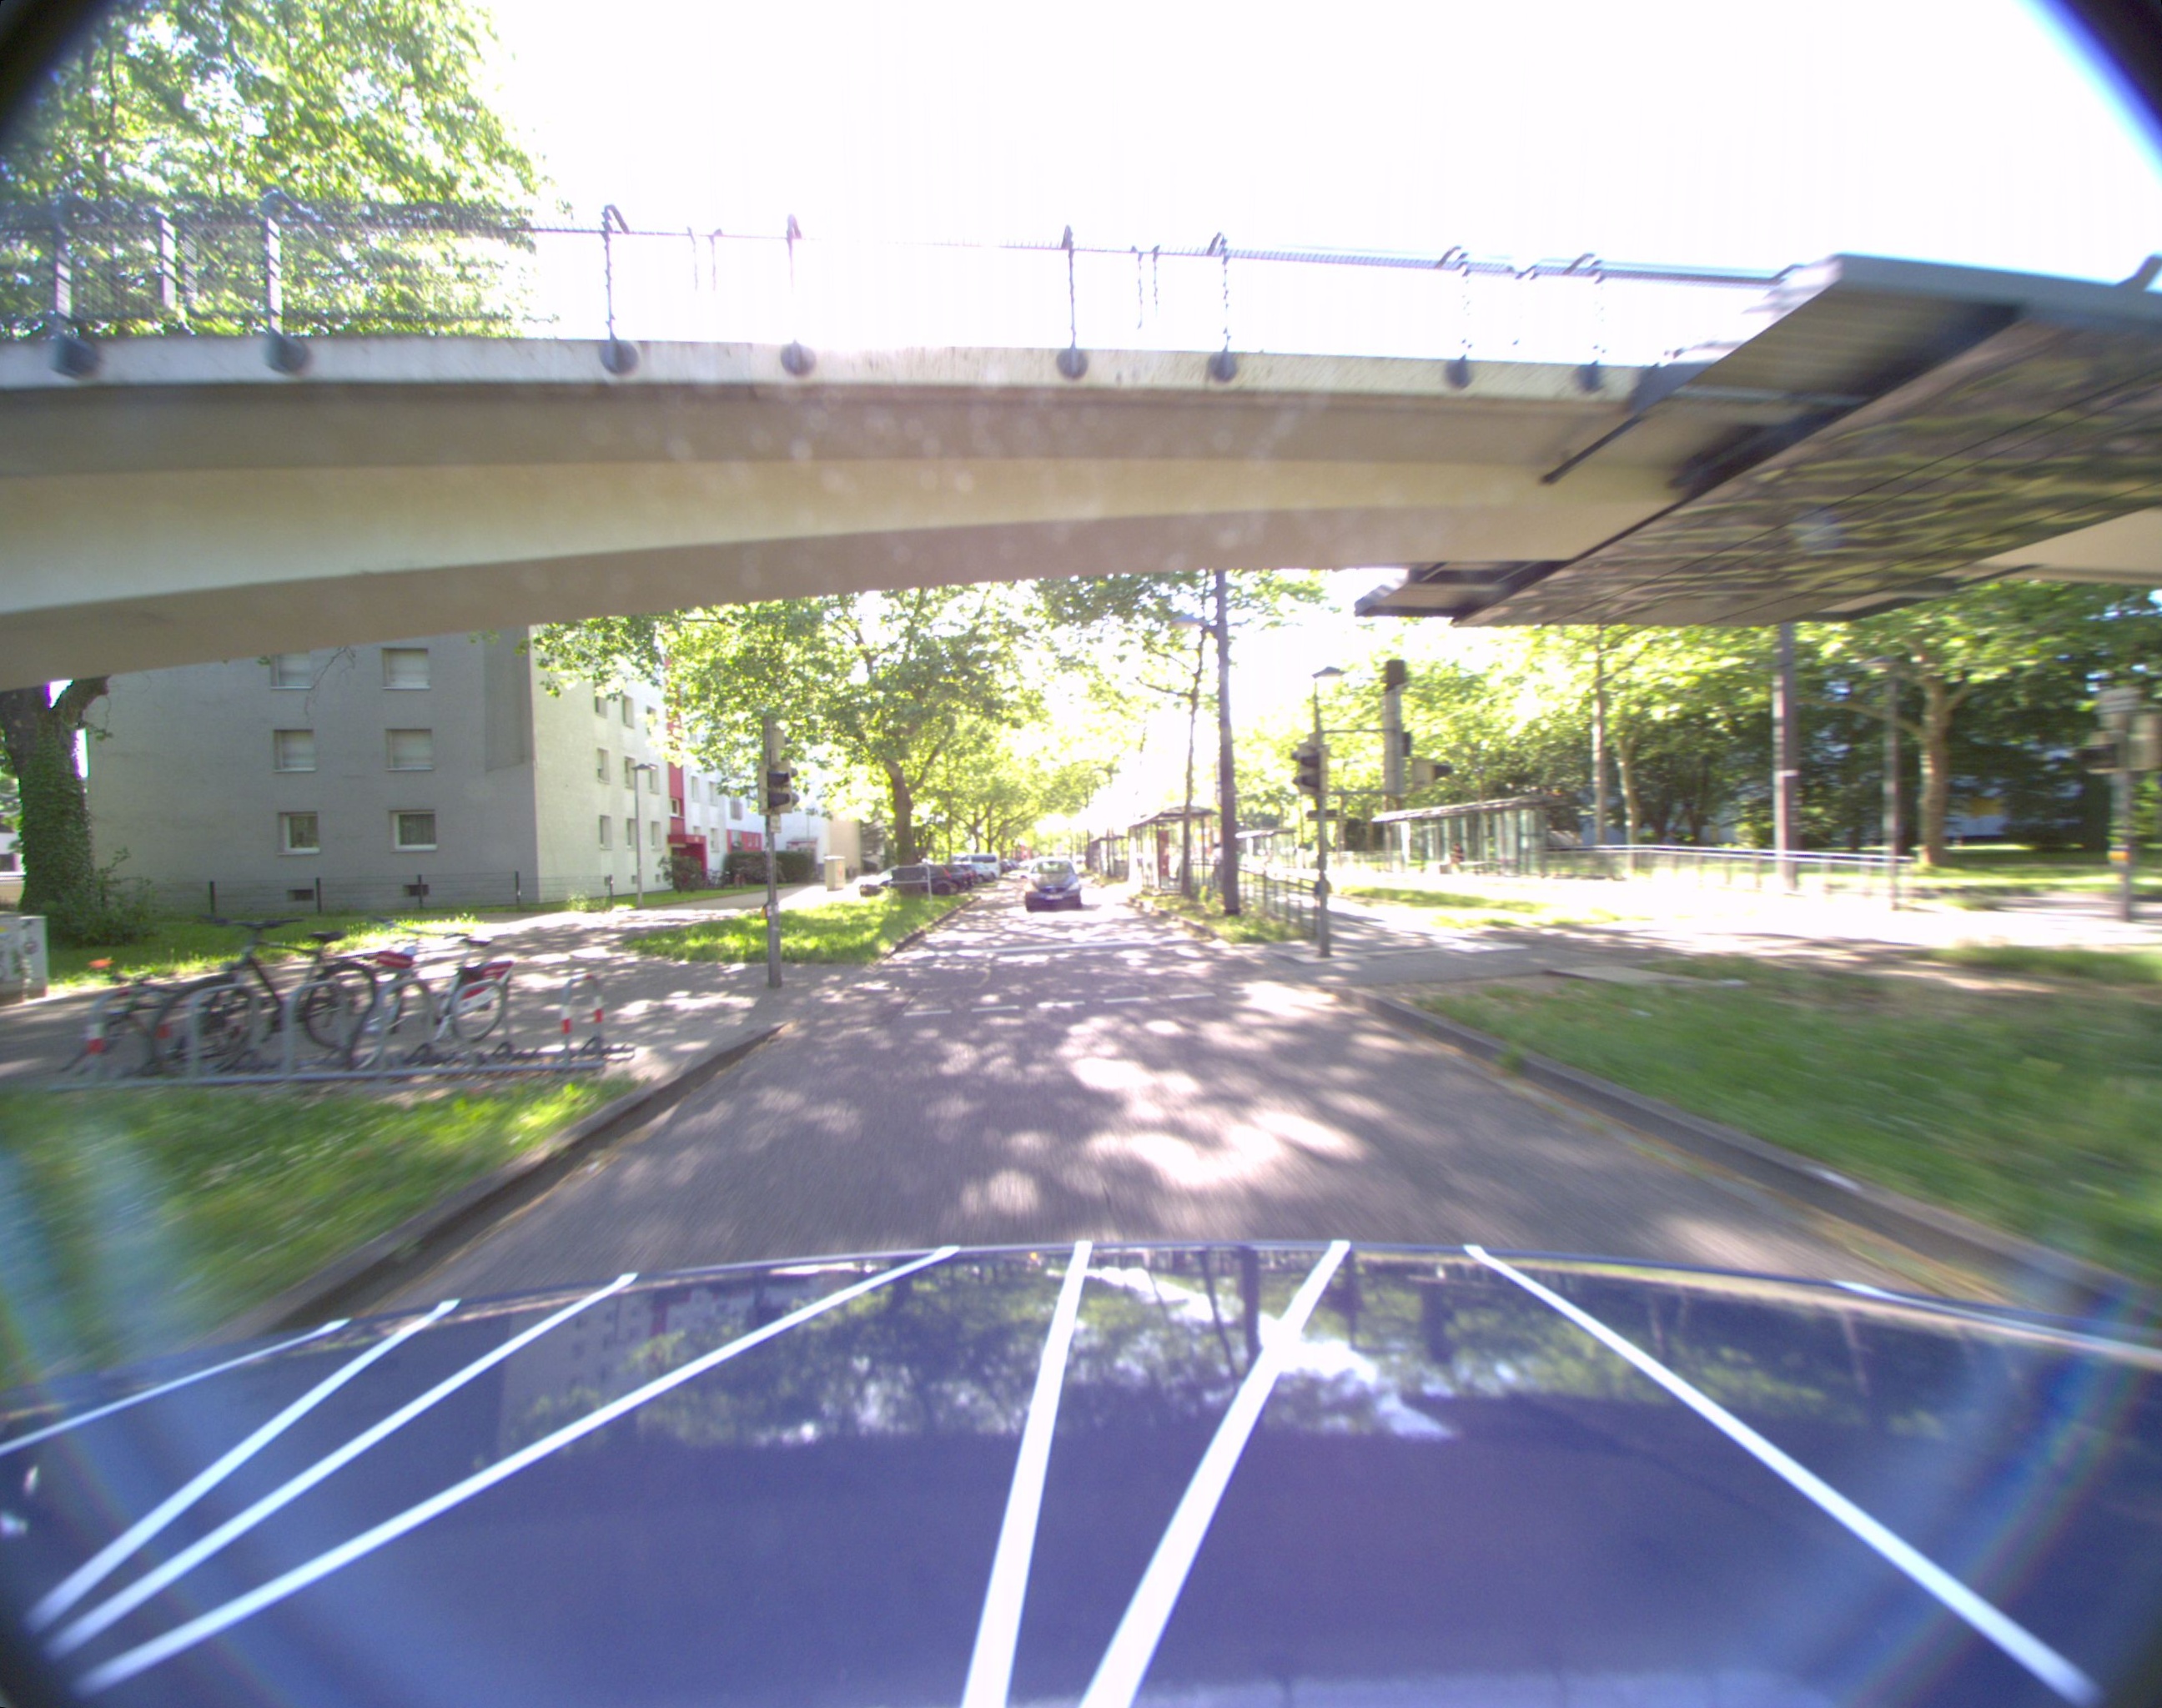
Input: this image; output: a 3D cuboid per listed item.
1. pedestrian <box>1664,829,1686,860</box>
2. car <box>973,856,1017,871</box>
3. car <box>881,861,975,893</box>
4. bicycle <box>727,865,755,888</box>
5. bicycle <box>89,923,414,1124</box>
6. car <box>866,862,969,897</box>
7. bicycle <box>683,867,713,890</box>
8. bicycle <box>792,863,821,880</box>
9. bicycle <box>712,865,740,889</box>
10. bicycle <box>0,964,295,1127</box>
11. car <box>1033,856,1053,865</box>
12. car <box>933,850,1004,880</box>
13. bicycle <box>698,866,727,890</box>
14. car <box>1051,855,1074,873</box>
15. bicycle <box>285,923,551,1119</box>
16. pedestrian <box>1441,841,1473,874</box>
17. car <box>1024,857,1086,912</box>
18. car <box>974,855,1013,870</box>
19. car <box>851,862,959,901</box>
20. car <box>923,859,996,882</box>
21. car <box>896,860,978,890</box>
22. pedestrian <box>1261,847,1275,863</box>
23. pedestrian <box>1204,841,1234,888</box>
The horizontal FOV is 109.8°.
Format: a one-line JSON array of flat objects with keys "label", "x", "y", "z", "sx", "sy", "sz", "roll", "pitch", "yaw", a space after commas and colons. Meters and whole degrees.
[{"label": "pedestrian", "x": 31.870, "y": -0.507, "z": 40.773, "sx": 0.650, "sy": 1.651, "sz": 0.650, "roll": -2, "pitch": 1, "yaw": -2}, {"label": "car", "x": -8.985, "y": 0.978, "z": 79.803, "sx": 1.795, "sy": 1.414, "sz": 4.600, "roll": -1, "pitch": 0, "yaw": 43}, {"label": "car", "x": -7.539, "y": 1.097, "z": 37.703, "sx": 4.265, "sy": 1.453, "sz": 1.795, "roll": 0, "pitch": 0, "yaw": -42}, {"label": "bicycle", "x": -16.952, "y": 1.112, "z": 37.930, "sx": 0.591, "sy": 1.101, "sz": 1.799, "roll": -2, "pitch": 0, "yaw": -2}, {"label": "bicycle", "x": -6.219, "y": 1.191, "z": 5.878, "sx": 0.591, "sy": 1.176, "sz": 1.800, "roll": 1, "pitch": -1, "yaw": -3}, {"label": "car", "x": -7.345, "y": 1.106, "z": 34.403, "sx": 4.265, "sy": 1.453, "sz": 1.795, "roll": 0, "pitch": 0, "yaw": -42}, {"label": "bicycle", "x": -19.070, "y": 1.211, "z": 37.881, "sx": 0.591, "sy": 1.101, "sz": 1.799, "roll": -2, "pitch": 0, "yaw": -2}, {"label": "bicycle", "x": -19.160, "y": 1.212, "z": 53.026, "sx": 1.800, "sy": 1.123, "sz": 0.500, "roll": 1, "pitch": 0, "yaw": -7}, {"label": "bicycle", "x": -17.696, "y": 1.131, "z": 37.928, "sx": 0.591, "sy": 1.101, "sz": 1.799, "roll": -2, "pitch": 0, "yaw": -2}, {"label": "bicycle", "x": -6.803, "y": 1.339, "z": 5.608, "sx": 0.506, "sy": 0.847, "sz": 1.473, "roll": 1, "pitch": -1, "yaw": -3}, {"label": "car", "x": -8.689, "y": 1.472, "z": 172.804, "sx": 3.992, "sy": 1.501, "sz": 1.802, "roll": -5, "pitch": 0, "yaw": 22}, {"label": "car", "x": -7.920, "y": 0.724, "z": 53.736, "sx": 4.600, "sy": 2.040, "sz": 2.012, "roll": 0, "pitch": 0, "yaw": -42}, {"label": "bicycle", "x": -18.368, "y": 1.171, "z": 37.904, "sx": 0.591, "sy": 1.101, "sz": 1.799, "roll": -2, "pitch": 0, "yaw": -2}, {"label": "car", "x": -1.666, "y": 0.854, "z": 67.781, "sx": 1.799, "sy": 1.530, "sz": 3.999, "roll": -1, "pitch": 0, "yaw": -4}, {"label": "bicycle", "x": -5.104, "y": 1.211, "z": 6.035, "sx": 0.591, "sy": 1.176, "sz": 1.800, "roll": 1, "pitch": -1, "yaw": -3}, {"label": "pedestrian", "x": 14.233, "y": 0.134, "z": 28.776, "sx": 0.780, "sy": 1.230, "sz": 0.722, "roll": -2, "pitch": 1, "yaw": -4}, {"label": "car", "x": -0.865, "y": 0.927, "z": 24.692, "sx": 1.799, "sy": 1.580, "sz": 3.762, "roll": -2, "pitch": 0, "yaw": -2}, {"label": "car", "x": -9.638, "y": 0.931, "z": 84.192, "sx": 4.008, "sy": 1.566, "sz": 1.795, "roll": -1, "pitch": 0, "yaw": -43}, {"label": "car", "x": -7.208, "y": 1.082, "z": 31.401, "sx": 1.795, "sy": 1.453, "sz": 4.009, "roll": 0, "pitch": 0, "yaw": 43}, {"label": "car", "x": -7.994, "y": 1.049, "z": 50.312, "sx": 4.600, "sy": 1.415, "sz": 1.795, "roll": 0, "pitch": 0, "yaw": -44}, {"label": "car", "x": -7.675, "y": 1.086, "z": 40.681, "sx": 1.777, "sy": 1.459, "sz": 4.009, "roll": 0, "pitch": 0, "yaw": 45}, {"label": "pedestrian", "x": 13.339, "y": 0.077, "z": 54.219, "sx": 0.768, "sy": 1.176, "sz": 0.763, "roll": 1, "pitch": 0, "yaw": -2}, {"label": "pedestrian", "x": 4.287, "y": 0.335, "z": 23.664, "sx": 0.726, "sy": 1.409, "sz": 0.682, "roll": -3, "pitch": 1, "yaw": -3}]
